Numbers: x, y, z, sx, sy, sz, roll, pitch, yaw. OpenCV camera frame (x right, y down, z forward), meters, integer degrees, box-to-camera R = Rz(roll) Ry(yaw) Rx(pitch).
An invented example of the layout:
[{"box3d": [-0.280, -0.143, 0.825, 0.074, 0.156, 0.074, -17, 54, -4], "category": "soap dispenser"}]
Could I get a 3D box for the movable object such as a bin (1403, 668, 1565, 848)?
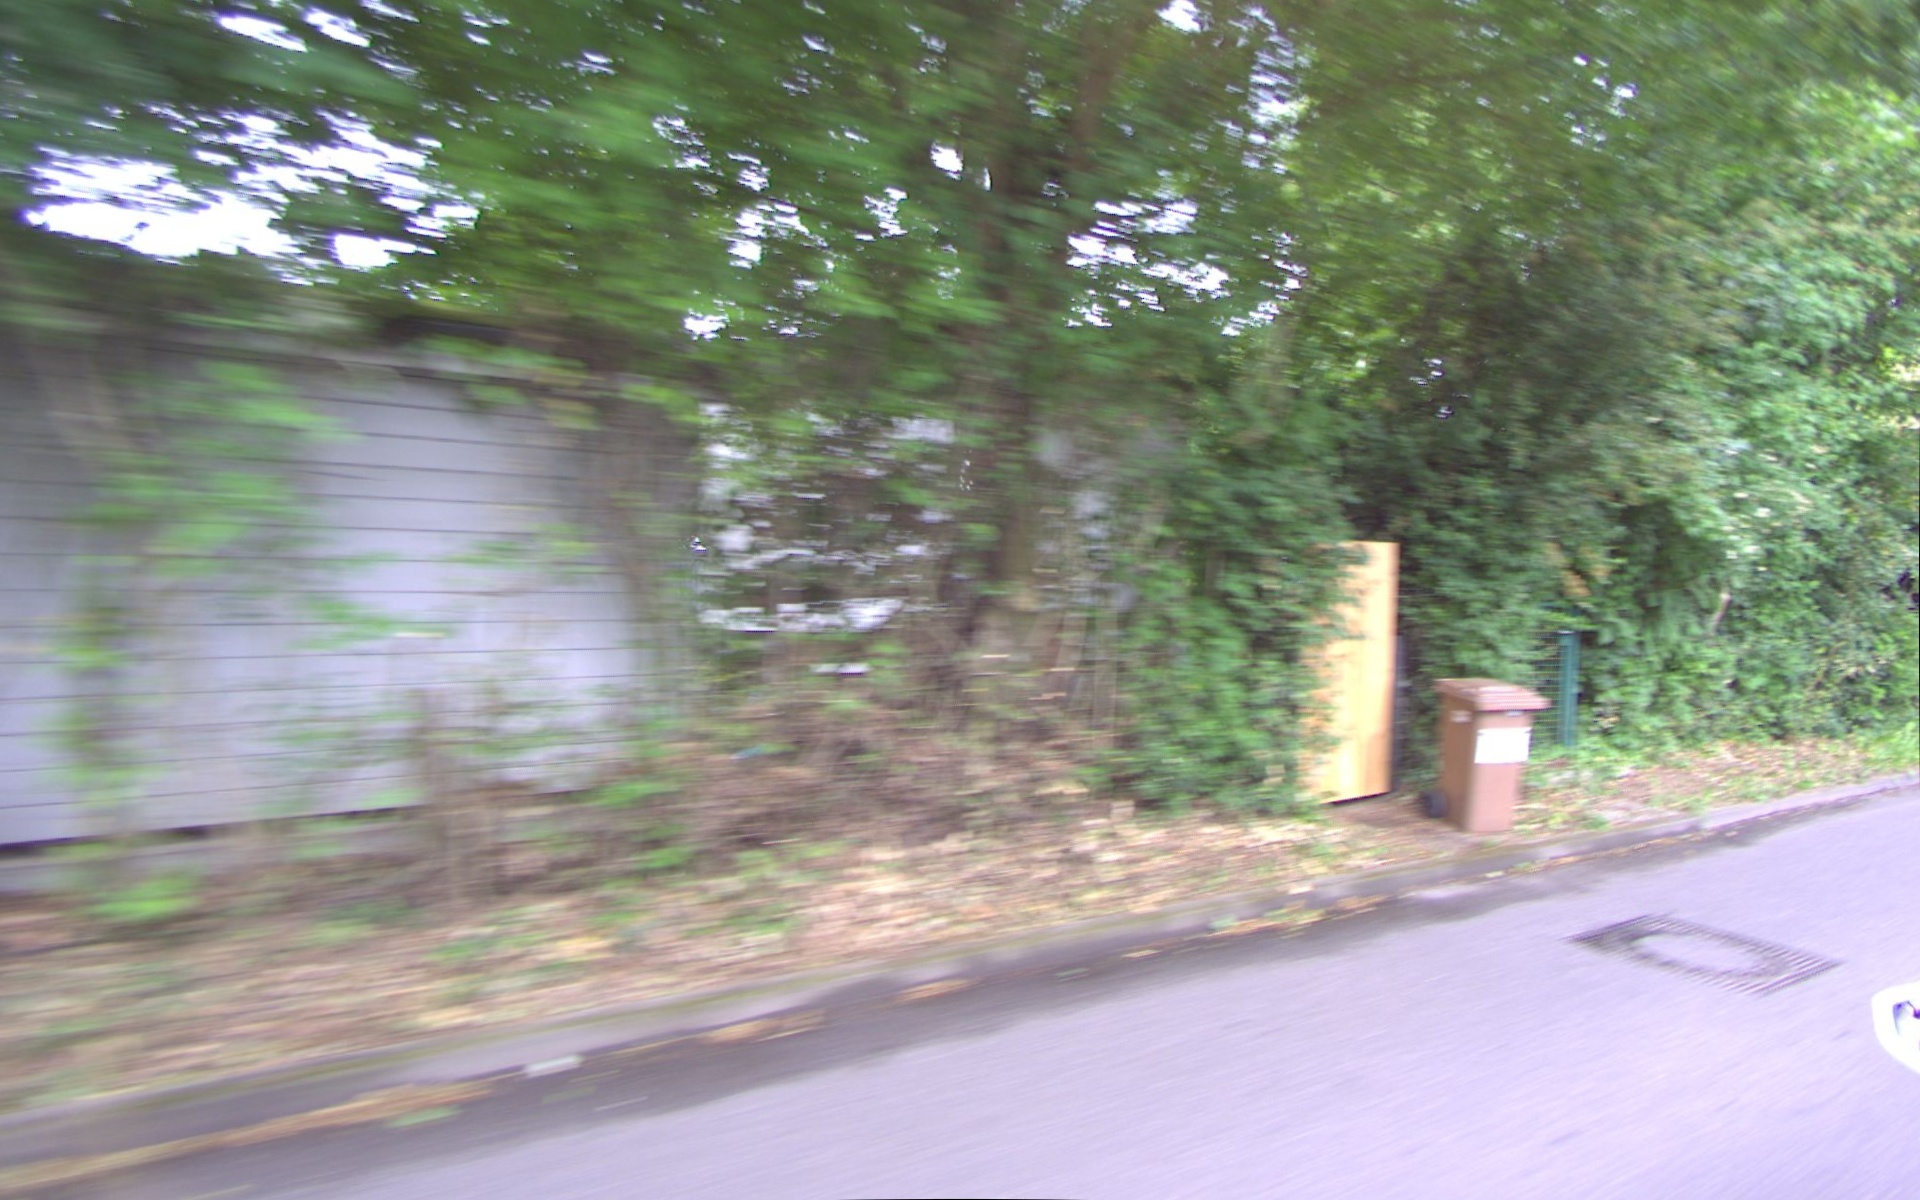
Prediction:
[{"box3d": [3.305, 0.970, 6.372, 0.621, 1.026, 0.648, 2, 0, -15], "category": "movable object such as a bin"}]
